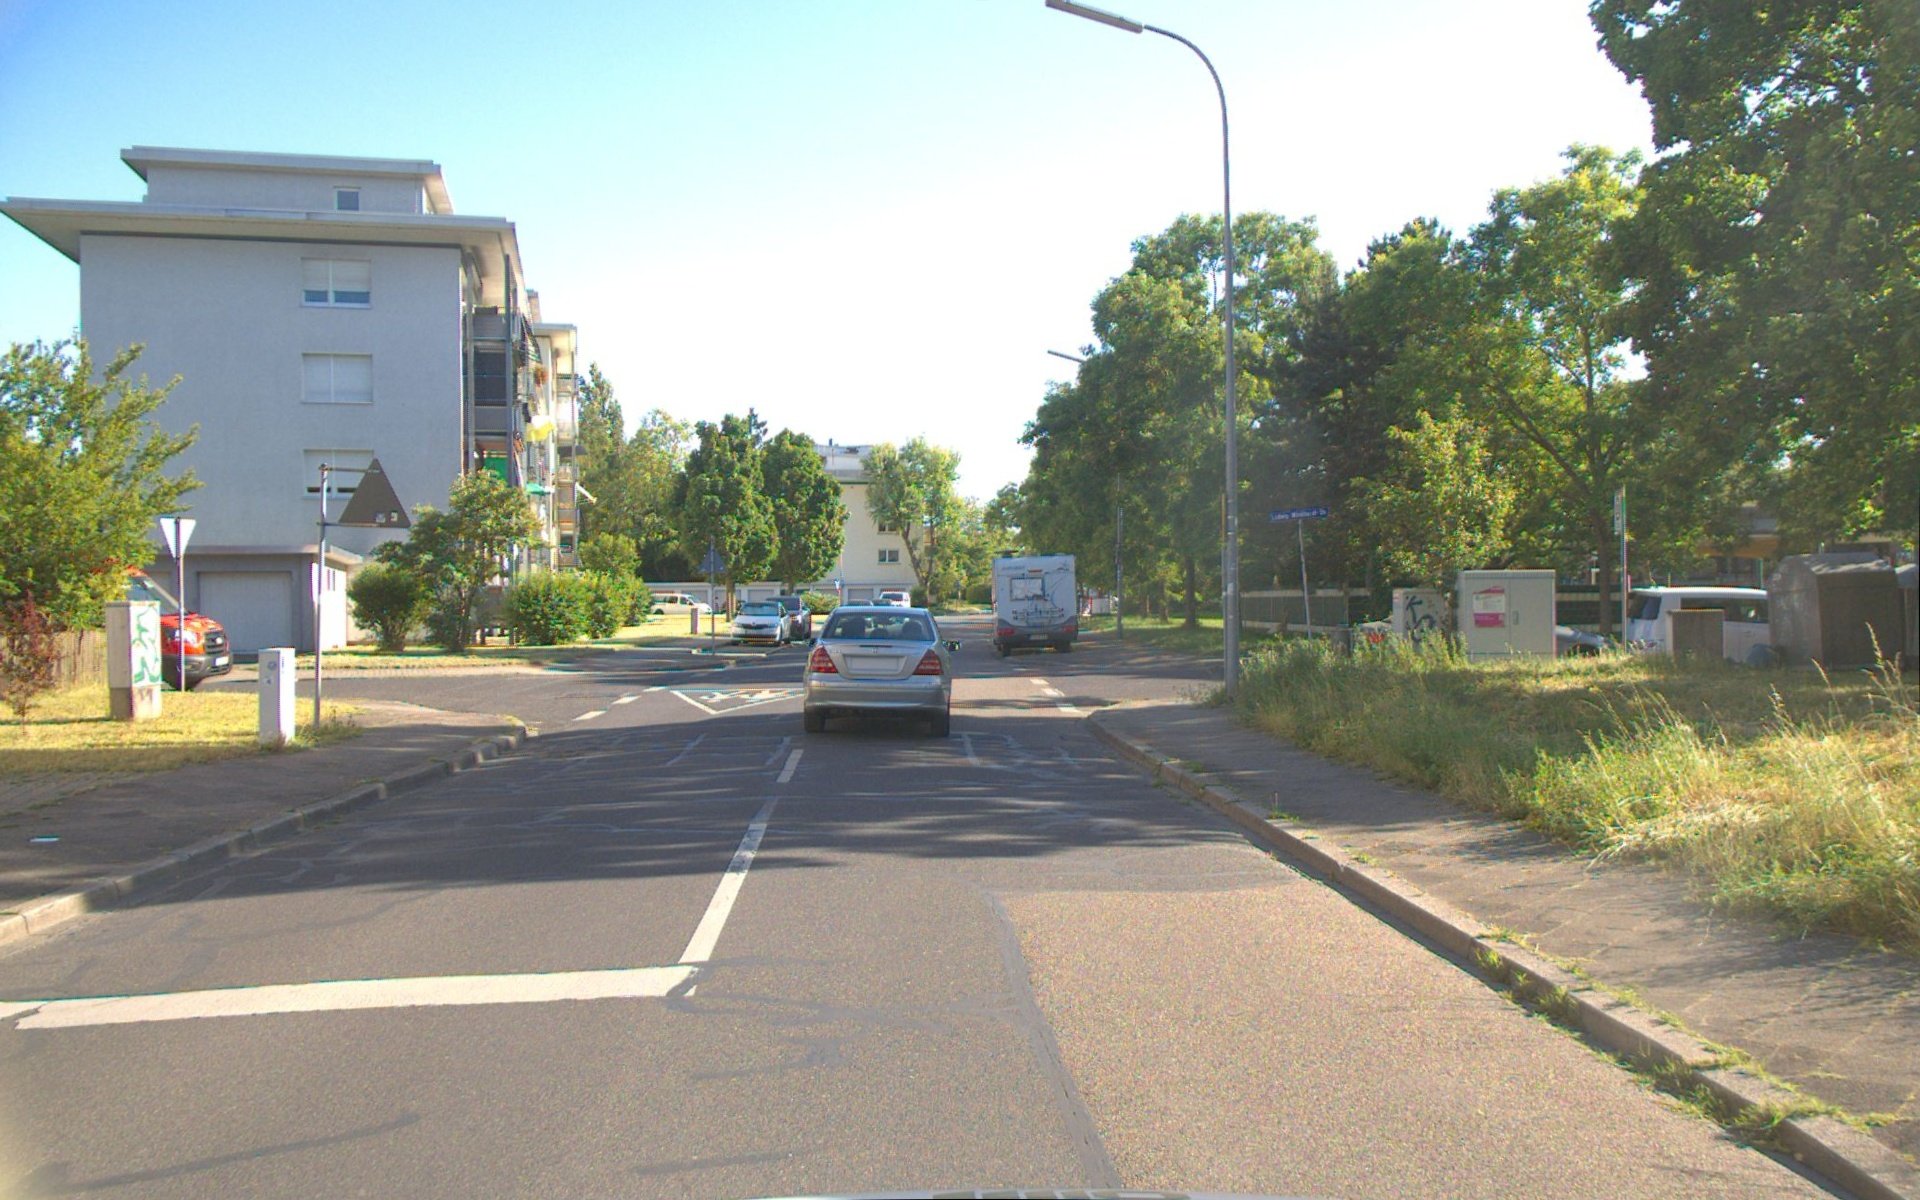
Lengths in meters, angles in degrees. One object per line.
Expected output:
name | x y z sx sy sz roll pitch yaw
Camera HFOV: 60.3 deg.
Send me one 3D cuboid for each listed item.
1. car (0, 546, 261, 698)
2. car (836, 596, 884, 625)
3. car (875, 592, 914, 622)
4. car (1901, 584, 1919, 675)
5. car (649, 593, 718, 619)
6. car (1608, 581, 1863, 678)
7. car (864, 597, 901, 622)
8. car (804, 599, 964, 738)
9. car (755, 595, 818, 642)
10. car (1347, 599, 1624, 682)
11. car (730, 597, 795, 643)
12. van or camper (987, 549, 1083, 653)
car | -15.649 0.362 28.953 5.786 2.471 2.212 -1 1 -3
car | -5.481 0.563 91.431 1.992 1.519 5.258 2 0 3
car | -4.363 0.495 110.728 1.972 1.918 5.193 1 0 4
car | 18.655 0.512 28.273 4.016 1.568 1.974 0 1 4
car | -22.396 0.477 134.016 4.996 1.985 2.239 -1 0 11
car | 13.458 0.498 28.882 3.606 1.605 1.829 -1 0 5
car | -4.850 0.599 104.246 1.795 1.544 4.223 1 0 4
car | -0.894 0.735 19.442 1.698 1.459 3.436 -1 0 -3
car | -6.517 0.652 62.642 1.875 1.632 4.811 2 0 -1
car | 9.152 0.690 29.045 4.333 1.360 1.747 0 2 2
car | -6.644 0.657 56.105 1.612 1.492 4.331 0 0 1
van or camper | 2.050 0.017 47.471 2.304 2.641 6.425 -4 0 0
